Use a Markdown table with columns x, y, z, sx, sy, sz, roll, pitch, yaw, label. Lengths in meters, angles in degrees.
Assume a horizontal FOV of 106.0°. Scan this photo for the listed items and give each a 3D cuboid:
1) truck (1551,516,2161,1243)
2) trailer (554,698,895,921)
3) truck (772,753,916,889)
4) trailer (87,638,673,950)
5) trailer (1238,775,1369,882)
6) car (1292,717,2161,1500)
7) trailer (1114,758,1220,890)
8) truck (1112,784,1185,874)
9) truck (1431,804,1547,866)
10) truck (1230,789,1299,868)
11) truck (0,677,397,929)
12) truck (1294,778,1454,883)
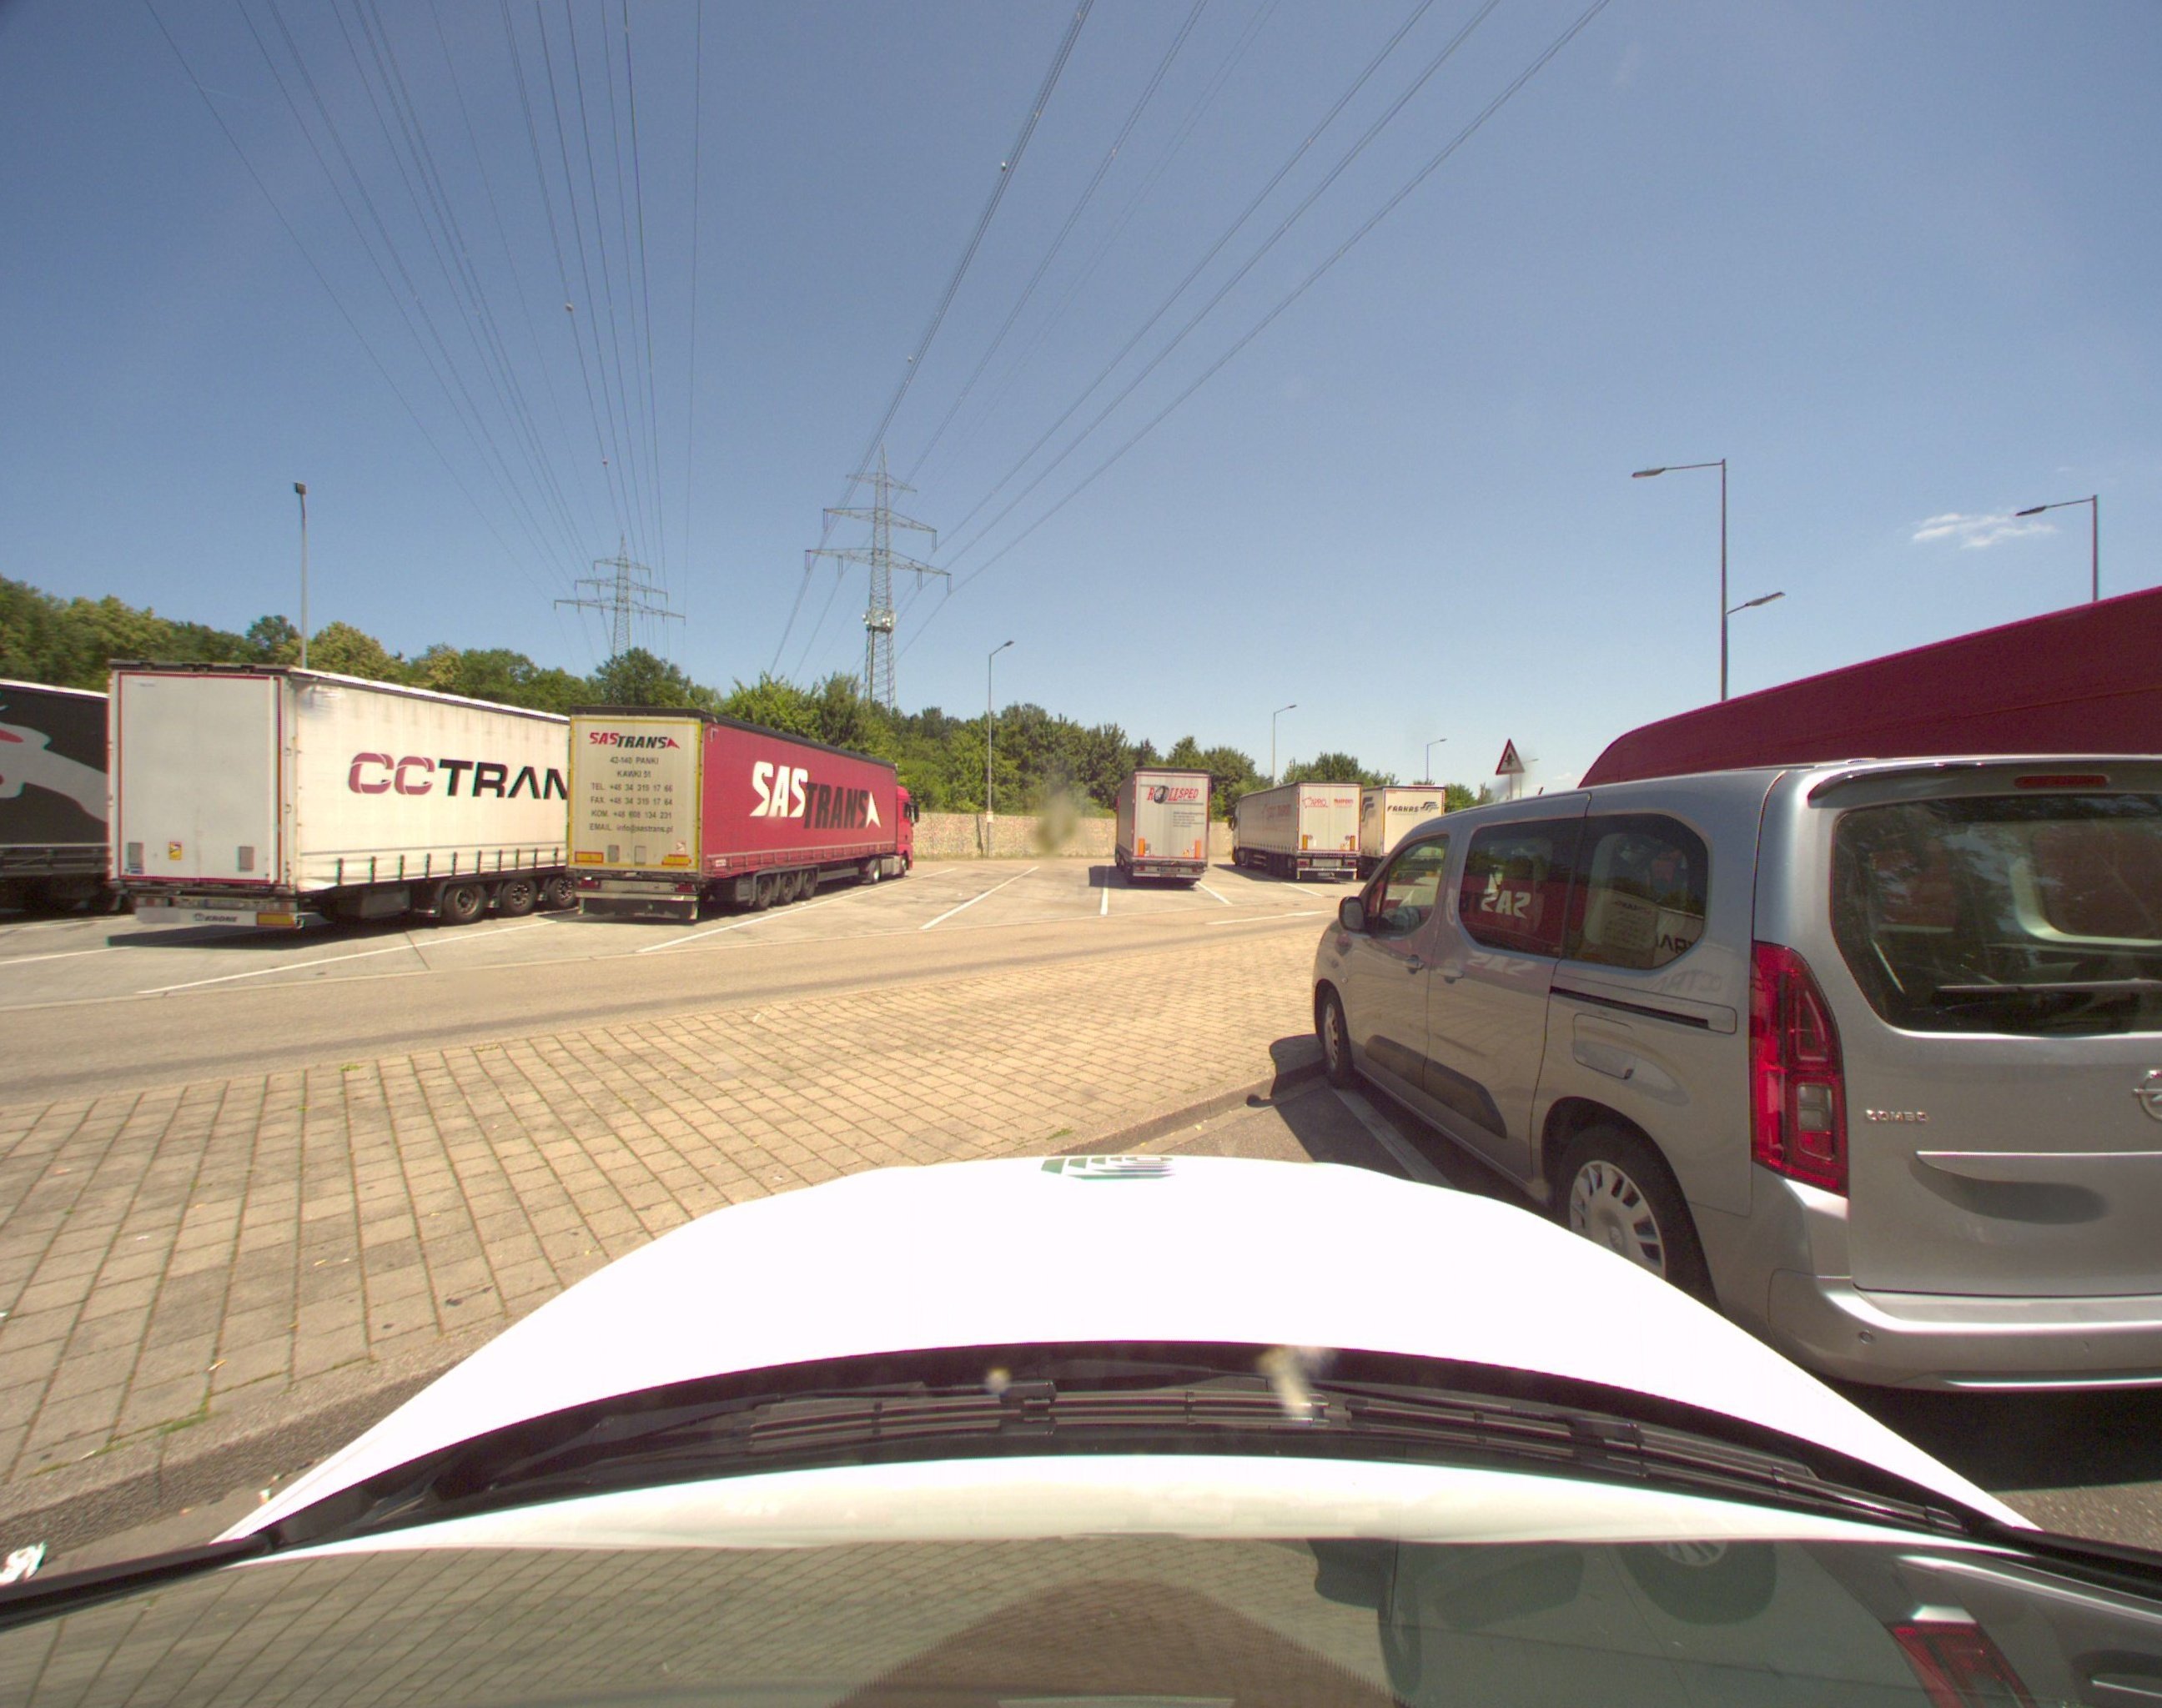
| x | y | z | sx | sy | sz | roll | pitch | yaw | label |
| --- | --- | --- | --- | --- | --- | --- | --- | --- | --- |
| 5.102 | 0.054 | 4.881 | 1.983 | 2.623 | 5.312 | -1 | 1 | 6 | truck |
| -8.045 | -0.913 | 21.538 | 2.739 | 4.057 | 13.292 | -1 | 1 | 2 | trailer |
| -7.839 | -1.046 | 28.022 | 2.733 | 4.081 | 6.832 | -1 | 1 | 1 | truck |
| -12.098 | -0.891 | 16.078 | 2.734 | 4.263 | 9.740 | 0 | 1 | 3 | trailer |
| 9.938 | -1.097 | 38.419 | 2.865 | 4.124 | 13.577 | 0 | 1 | 2 | trailer |
| 2.473 | 0.534 | 3.859 | 1.821 | 1.753 | 3.998 | -1 | 1 | -2 | car |
| 3.044 | -1.182 | 32.747 | 3.059 | 4.227 | 12.811 | 1 | 2 | 1 | trailer |
| 3.126 | -1.215 | 39.519 | 3.016 | 3.928 | 6.848 | 1 | 2 | 1 | truck |
| 24.459 | -1.122 | 49.446 | 3.013 | 3.437 | 8.534 | -1 | 1 | 2 | truck |
| 10.125 | -1.387 | 45.422 | 2.747 | 4.124 | 5.286 | -1 | 1 | 2 | truck |
| -18.510 | -0.852 | 15.971 | 2.627 | 4.018 | 8.640 | -1 | 1 | 2 | truck |
| 13.573 | -1.051 | 39.663 | 2.894 | 4.124 | 14.533 | 2 | 1 | 2 | truck |
